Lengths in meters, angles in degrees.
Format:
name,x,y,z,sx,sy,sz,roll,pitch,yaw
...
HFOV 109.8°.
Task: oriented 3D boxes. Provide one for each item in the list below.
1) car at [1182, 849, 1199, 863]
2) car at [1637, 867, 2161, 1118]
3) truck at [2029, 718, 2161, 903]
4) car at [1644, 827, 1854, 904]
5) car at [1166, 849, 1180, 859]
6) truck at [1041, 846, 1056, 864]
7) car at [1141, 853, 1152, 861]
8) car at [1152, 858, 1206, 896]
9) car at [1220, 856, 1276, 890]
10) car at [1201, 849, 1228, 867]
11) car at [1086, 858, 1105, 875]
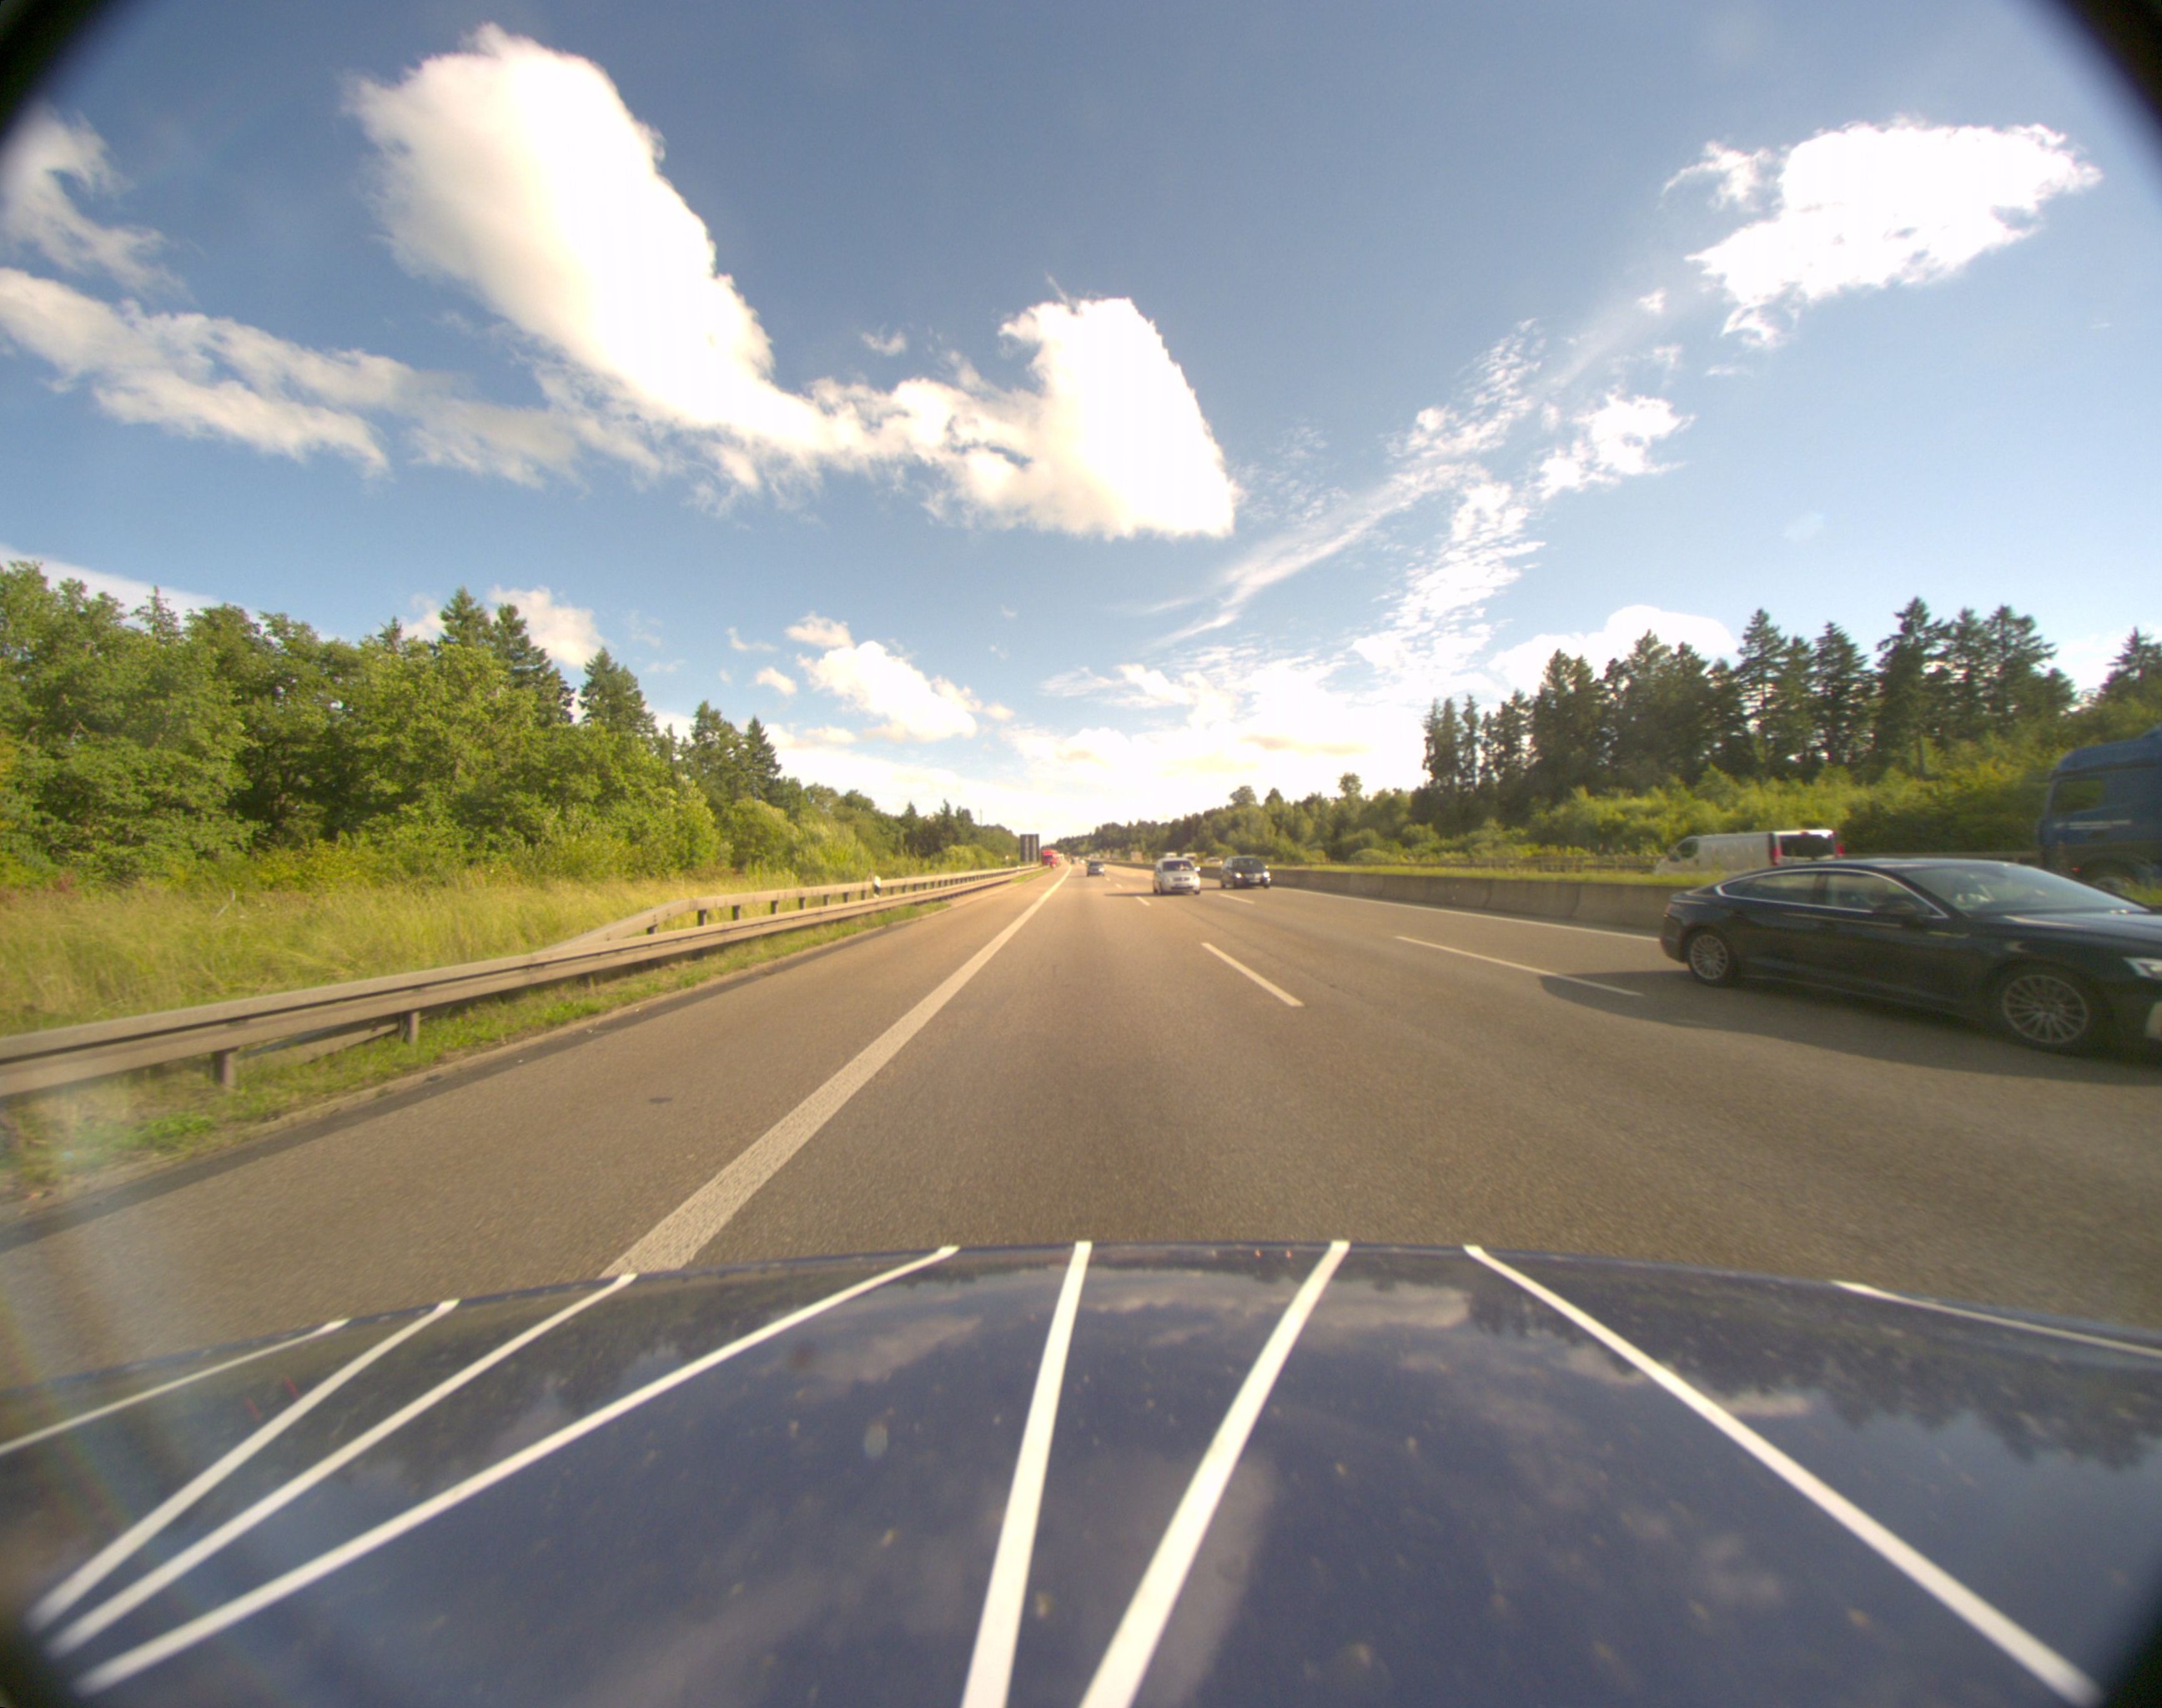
name,x,y,z,sx,sy,sz,roll,pitch,yaw
car,19.100,0.267,132.852,2.102,2.262,5.446,-4,0,0
car,7.562,0.881,6.670,1.861,1.422,4.841,-2,0,1
truck,23.863,-0.941,14.305,3.122,3.815,7.123,-2,0,0
car,19.493,0.315,22.550,1.998,2.002,4.859,-2,0,1
car,22.967,0.020,189.492,2.550,2.461,5.845,-4,0,0
truck,-7.225,0.253,171.635,2.880,3.870,8.959,-2,0,0
car,18.049,0.783,209.619,2.325,2.024,5.031,-2,0,0
car,4.240,0.975,33.504,1.840,1.508,4.333,-2,0,1
car,8.126,0.893,37.425,1.840,1.508,4.333,-2,0,1
car,15.451,0.431,87.910,2.102,1.914,5.284,-4,0,0
car,1.444,1.226,75.988,1.742,1.608,4.083,-2,0,1
